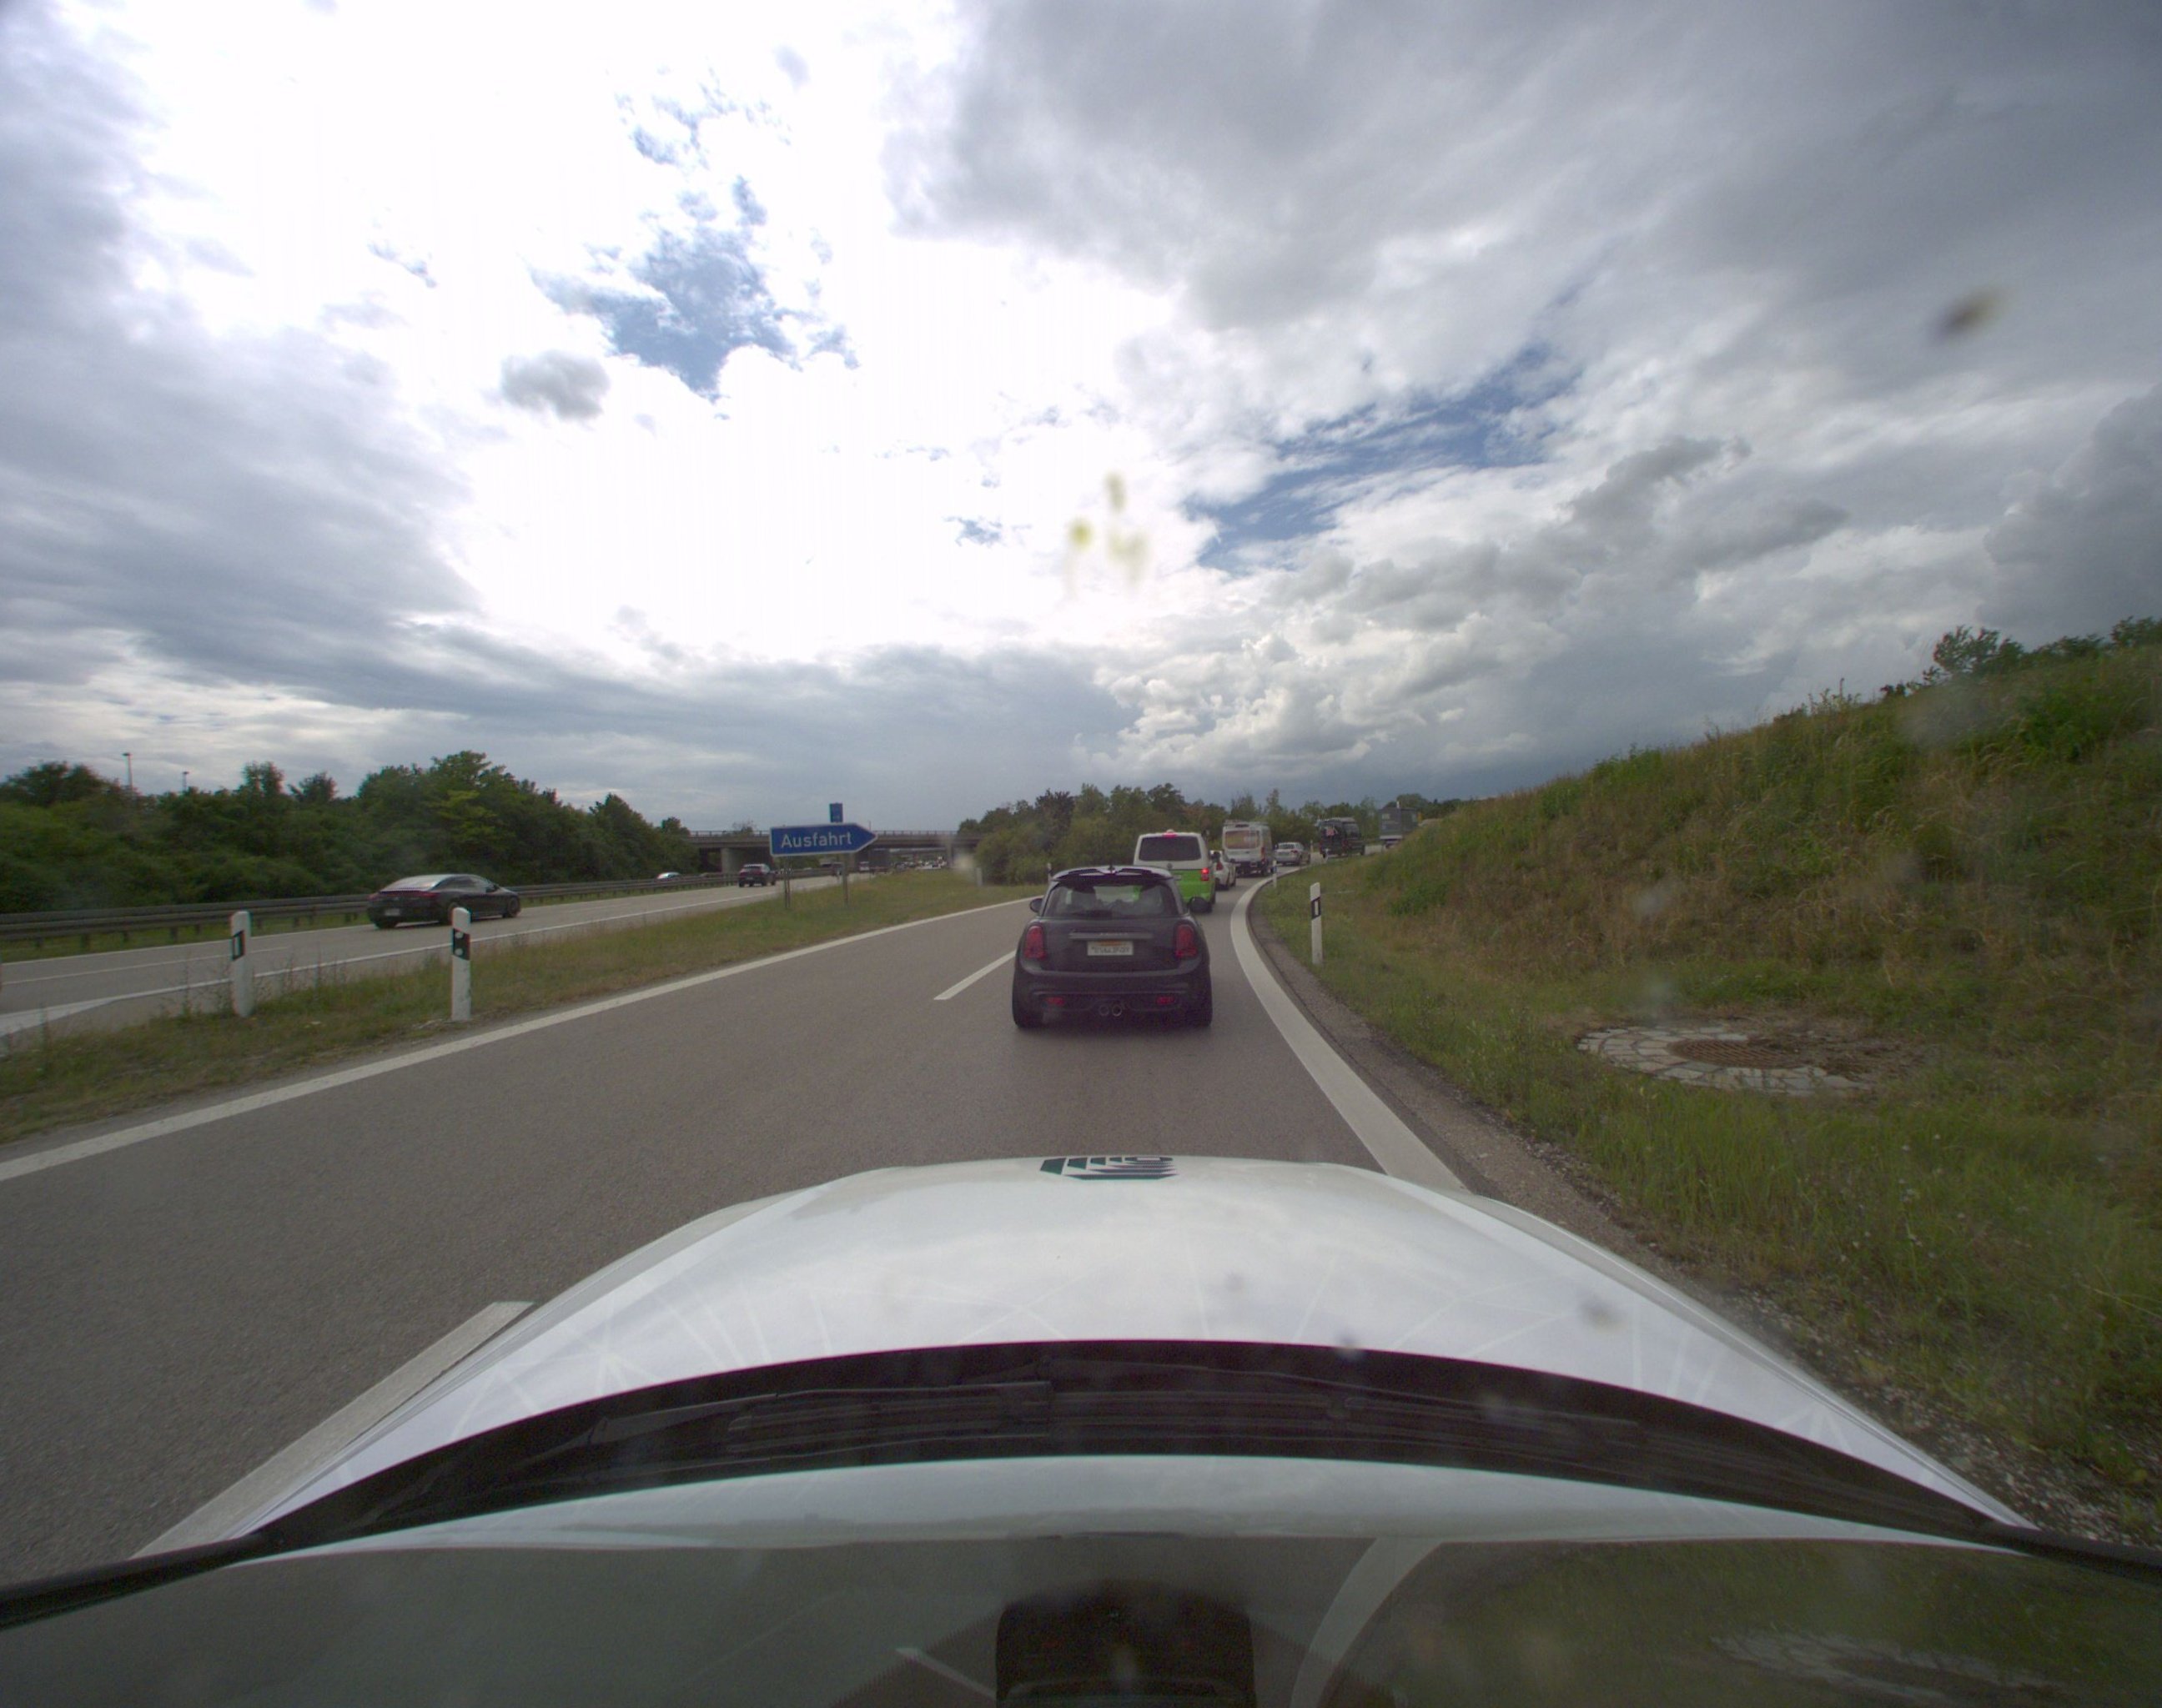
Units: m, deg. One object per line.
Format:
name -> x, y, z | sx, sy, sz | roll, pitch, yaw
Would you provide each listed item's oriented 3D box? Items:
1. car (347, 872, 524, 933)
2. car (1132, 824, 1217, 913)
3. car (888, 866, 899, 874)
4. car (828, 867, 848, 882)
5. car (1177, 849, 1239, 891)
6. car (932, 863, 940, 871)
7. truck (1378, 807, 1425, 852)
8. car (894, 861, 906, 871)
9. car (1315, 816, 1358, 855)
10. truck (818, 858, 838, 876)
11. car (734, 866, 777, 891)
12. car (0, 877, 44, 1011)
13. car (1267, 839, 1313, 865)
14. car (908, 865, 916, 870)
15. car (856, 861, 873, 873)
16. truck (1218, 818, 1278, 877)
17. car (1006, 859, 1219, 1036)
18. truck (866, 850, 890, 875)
car -> -19.194, 1.360, 24.558 | 1.993, 1.509, 4.764 | -2, 0, -8
car -> 2.468, 0.350, 20.648 | 1.773, 2.013, 4.012 | -1, 0, 11
car -> -44.459, 3.833, 193.316 | 1.992, 1.785, 5.396 | -2, 0, -8
car -> -31.663, 2.663, 106.343 | 1.845, 1.758, 4.322 | -2, 0, -9
car -> 4.692, 0.556, 29.738 | 1.749, 1.399, 3.741 | -2, 0, 16
car -> -40.831, 3.664, 229.523 | 1.994, 2.014, 3.986 | 0, -1, -10
truck -> 29.598, -2.153, 75.002 | 2.207, 3.907, 6.053 | -1, -1, 39
car -> -35.426, 2.339, 159.821 | 1.875, 1.751, 4.475 | -2, 0, -8
car -> 18.868, -1.327, 60.016 | 2.084, 2.796, 4.025 | -1, 0, 32
truck -> -54.029, 2.798, 174.361 | 2.758, 3.646, 8.172 | -2, 0, -8
car -> -25.042, 1.850, 62.835 | 1.993, 1.743, 4.814 | -3, 0, -9
car -> -12.932, 1.043, 7.578 | 1.716, 1.519, 3.989 | -2, 0, -8
car -> 12.958, -0.115, 50.389 | 1.848, 1.510, 4.024 | -2, 0, 28
car -> -49.545, 3.846, 238.903 | 1.721, 1.424, 4.783 | -2, 0, -8
car -> -34.083, 1.976, 128.301 | 1.992, 1.810, 3.989 | -2, 0, -8
truck -> 8.207, -0.331, 39.690 | 2.161, 2.658, 5.133 | -2, 0, 18
car -> 0.335, 0.783, 8.545 | 1.720, 1.413, 3.727 | -1, 0, 2
truck -> -29.016, 1.208, 116.731 | 2.467, 3.371, 7.899 | -3, -1, -9
